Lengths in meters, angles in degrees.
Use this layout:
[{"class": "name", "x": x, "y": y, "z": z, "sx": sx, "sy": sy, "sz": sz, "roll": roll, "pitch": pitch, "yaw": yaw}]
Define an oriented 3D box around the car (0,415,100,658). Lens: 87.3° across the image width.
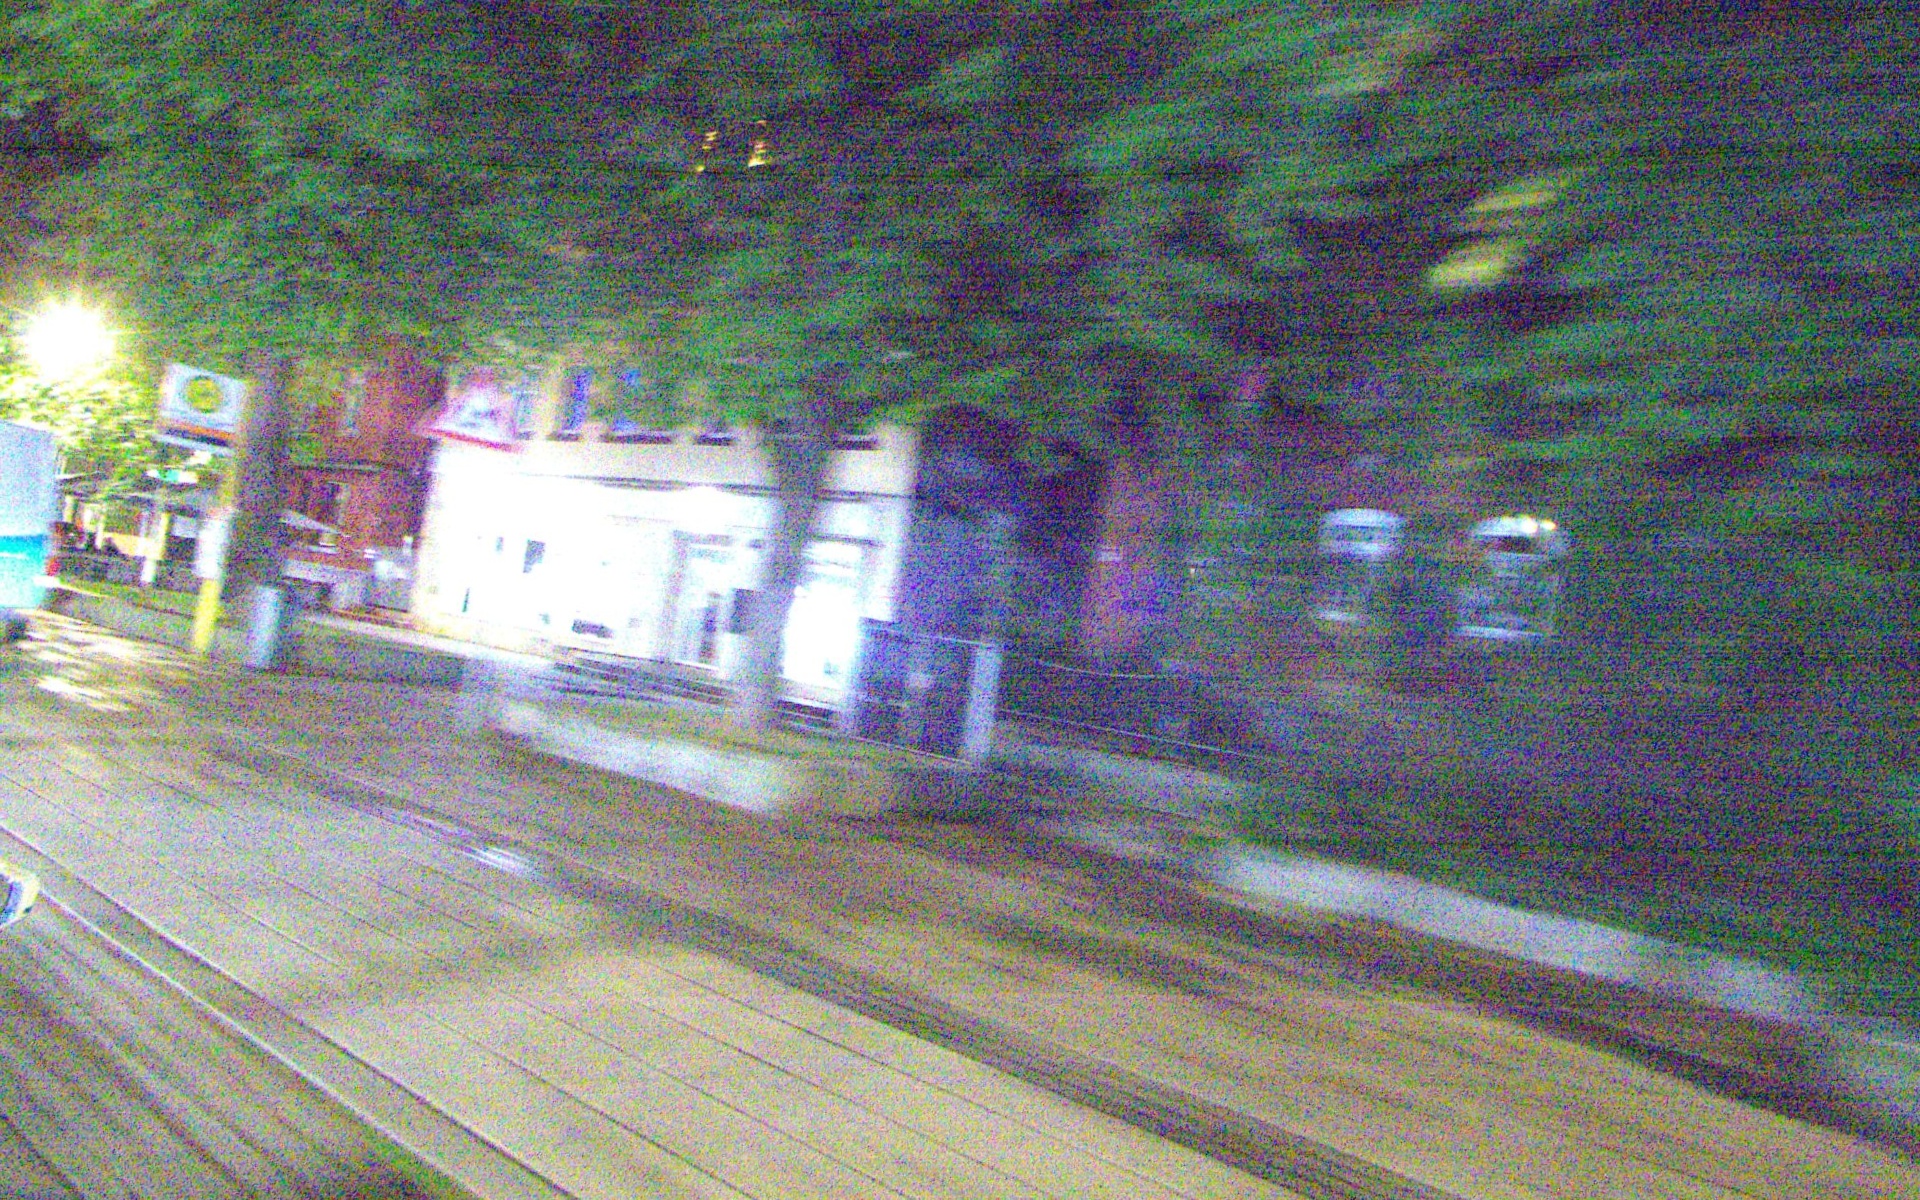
[{"class": "car", "x": -11.870, "y": -0.940, "z": 10.900, "sx": 5.065, "sy": 2.352, "sz": 2.140, "roll": 7, "pitch": -2, "yaw": 31}]
